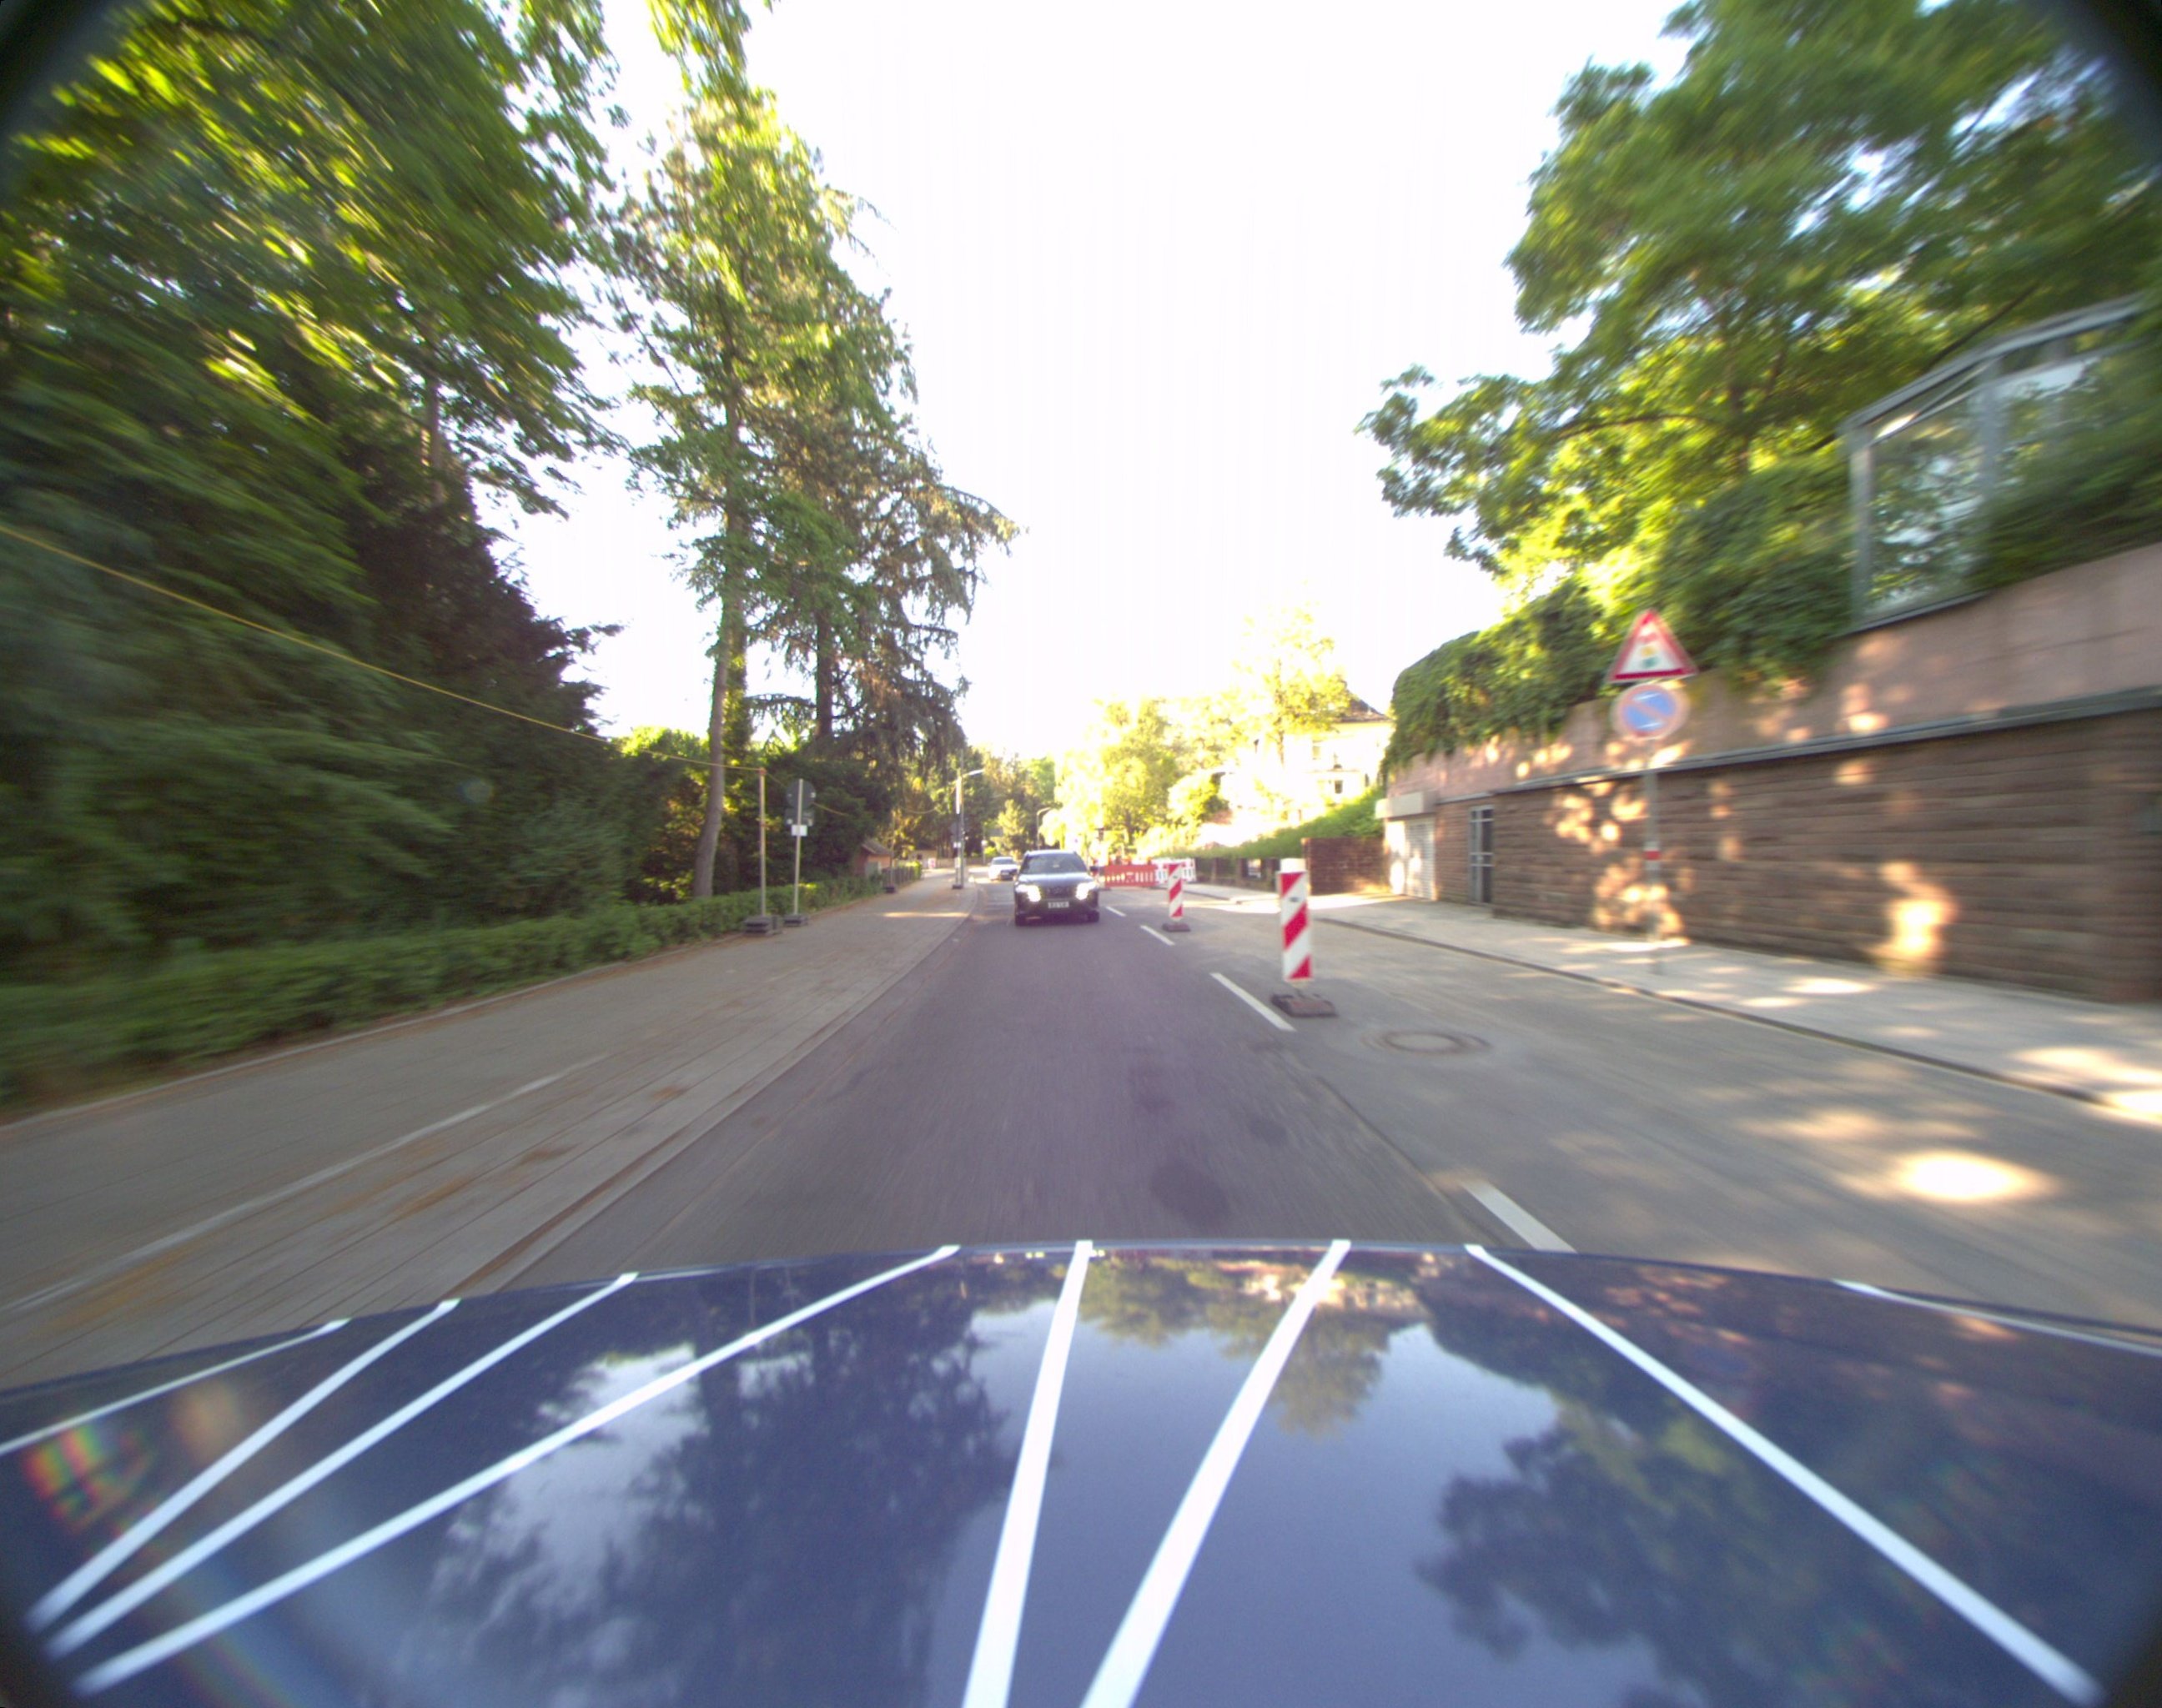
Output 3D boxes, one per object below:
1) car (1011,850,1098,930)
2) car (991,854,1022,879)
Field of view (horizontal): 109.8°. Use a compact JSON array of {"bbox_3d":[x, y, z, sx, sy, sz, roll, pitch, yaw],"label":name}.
[{"bbox_3d":[-0.662,0.757,18.202,1.788,1.639,4.473,-2,0,-3],"label":"car"},{"bbox_3d":[-4.682,0.748,47.511,1.663,1.468,3.679,-2,1,-10],"label":"car"}]
